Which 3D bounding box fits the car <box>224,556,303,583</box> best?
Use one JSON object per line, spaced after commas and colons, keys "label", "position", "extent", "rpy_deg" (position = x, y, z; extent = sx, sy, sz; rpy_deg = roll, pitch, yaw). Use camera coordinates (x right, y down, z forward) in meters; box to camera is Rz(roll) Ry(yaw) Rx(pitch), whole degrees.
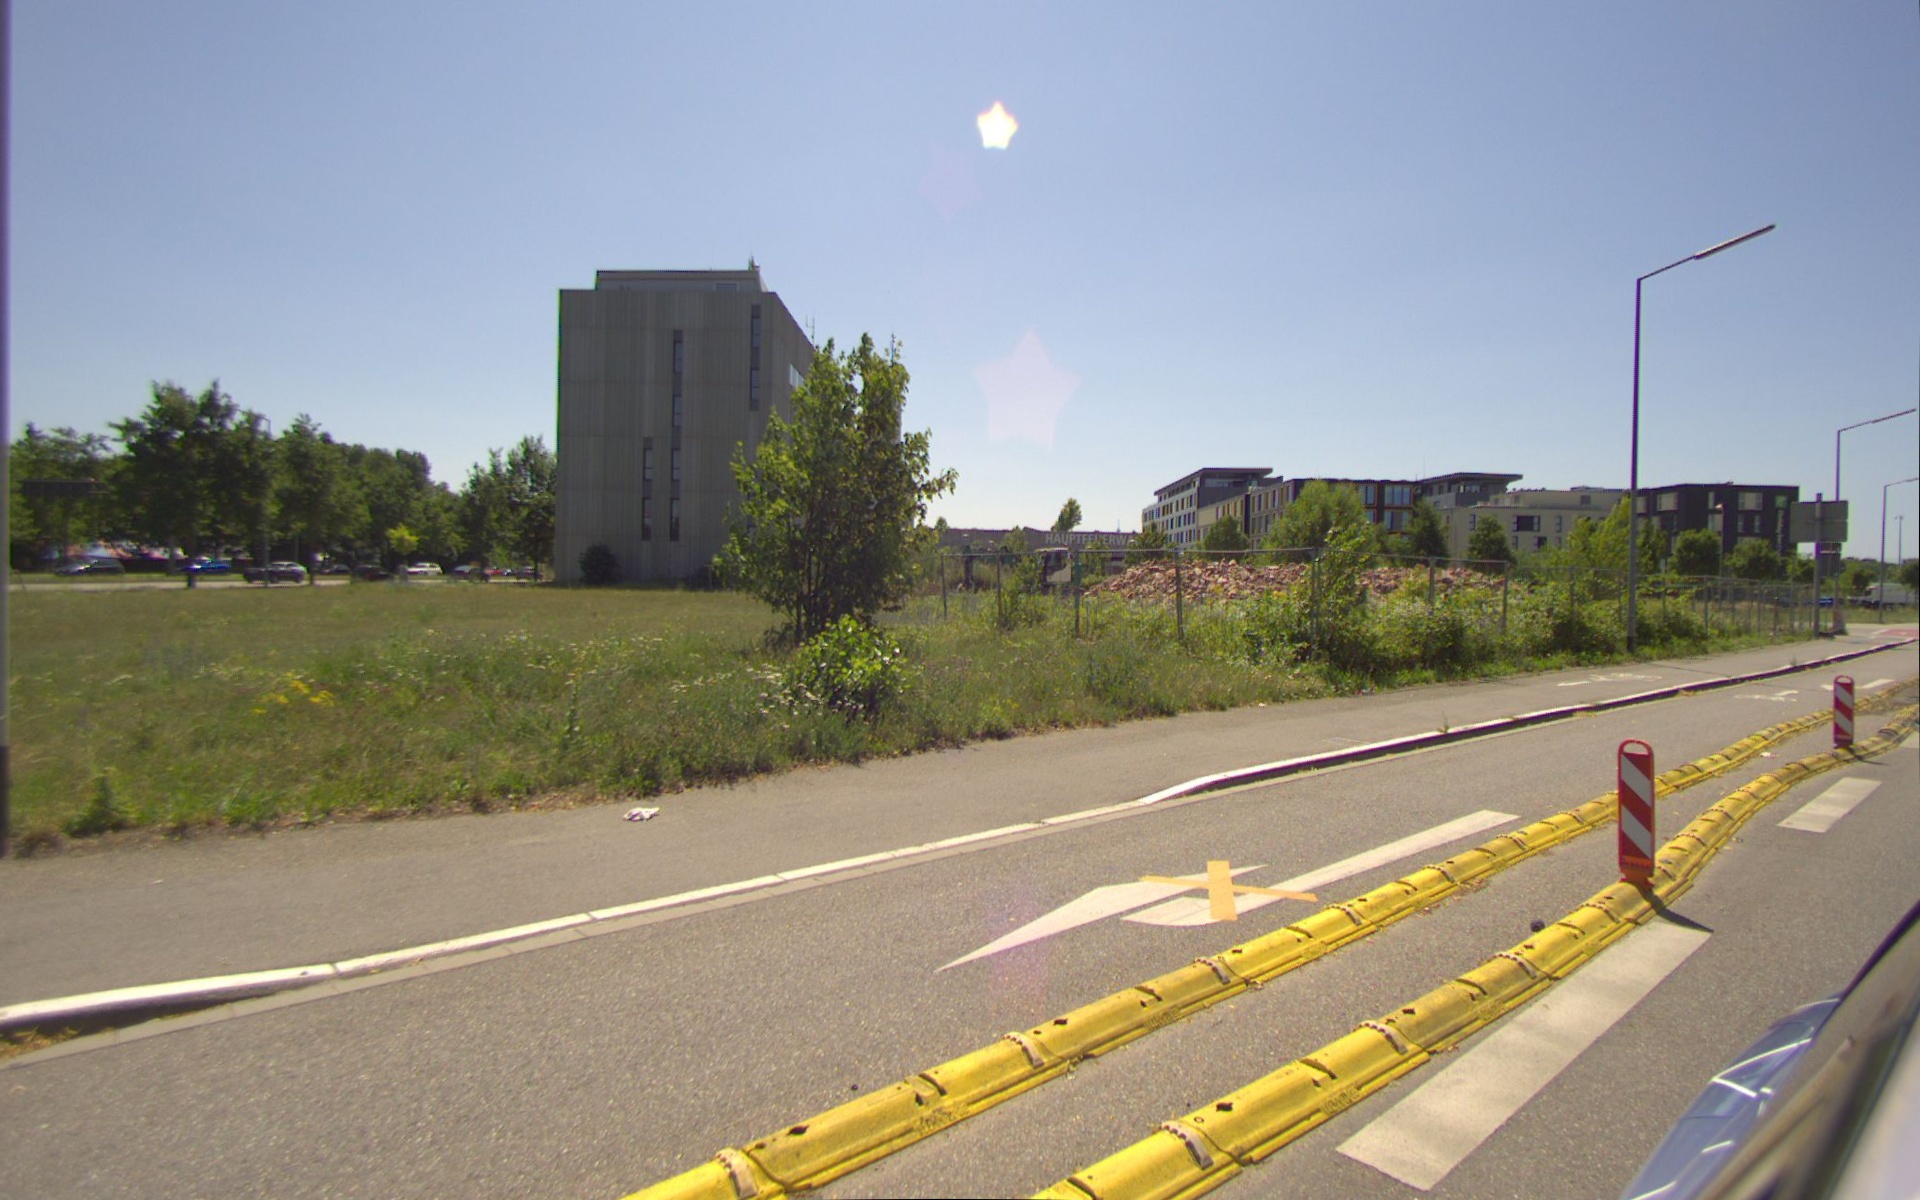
{"label": "car", "position": [-47.410, -2.060, 69.036], "extent": [1.960, 1.757, 5.334], "rpy_deg": [0, 0, -4]}

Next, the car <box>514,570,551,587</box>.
{"label": "car", "position": [-47.196, -2.349, 111.845], "extent": [1.964, 1.757, 4.639], "rpy_deg": [0, 0, 4]}

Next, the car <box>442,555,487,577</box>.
{"label": "car", "position": [-45.046, -3.071, 92.098], "extent": [1.961, 1.961, 4.645], "rpy_deg": [0, 0, -1]}

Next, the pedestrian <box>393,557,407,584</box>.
{"label": "pedestrian", "position": [-34.001, -1.766, 61.459], "extent": [0.652, 1.611, 0.557], "rpy_deg": [0, 0, -15]}

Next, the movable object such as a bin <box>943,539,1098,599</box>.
{"label": "movable object such as a bin", "position": [3.191, -1.595, 53.342], "extent": [7.537, 2.952, 3.242], "rpy_deg": [-1, 0, -26]}

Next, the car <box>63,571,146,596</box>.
{"label": "car", "position": [-57.536, -1.109, 68.170], "extent": [1.814, 1.612, 4.443], "rpy_deg": [0, 0, 1]}

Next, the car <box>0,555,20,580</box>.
{"label": "car", "position": [-62.325, -2.064, 63.872], "extent": [1.814, 1.611, 4.444], "rpy_deg": [1, 1, 1]}

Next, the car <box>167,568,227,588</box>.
{"label": "car", "position": [-61.608, -1.748, 81.802], "extent": [1.734, 1.557, 3.997], "rpy_deg": [0, 0, 3]}

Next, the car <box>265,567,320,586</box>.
{"label": "car", "position": [-58.420, -2.020, 88.681], "extent": [1.814, 1.612, 4.443], "rpy_deg": [0, 0, 1]}

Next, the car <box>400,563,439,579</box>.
{"label": "car", "position": [-57.891, -3.108, 108.491], "extent": [1.814, 1.612, 4.444], "rpy_deg": [0, 0, 1]}
